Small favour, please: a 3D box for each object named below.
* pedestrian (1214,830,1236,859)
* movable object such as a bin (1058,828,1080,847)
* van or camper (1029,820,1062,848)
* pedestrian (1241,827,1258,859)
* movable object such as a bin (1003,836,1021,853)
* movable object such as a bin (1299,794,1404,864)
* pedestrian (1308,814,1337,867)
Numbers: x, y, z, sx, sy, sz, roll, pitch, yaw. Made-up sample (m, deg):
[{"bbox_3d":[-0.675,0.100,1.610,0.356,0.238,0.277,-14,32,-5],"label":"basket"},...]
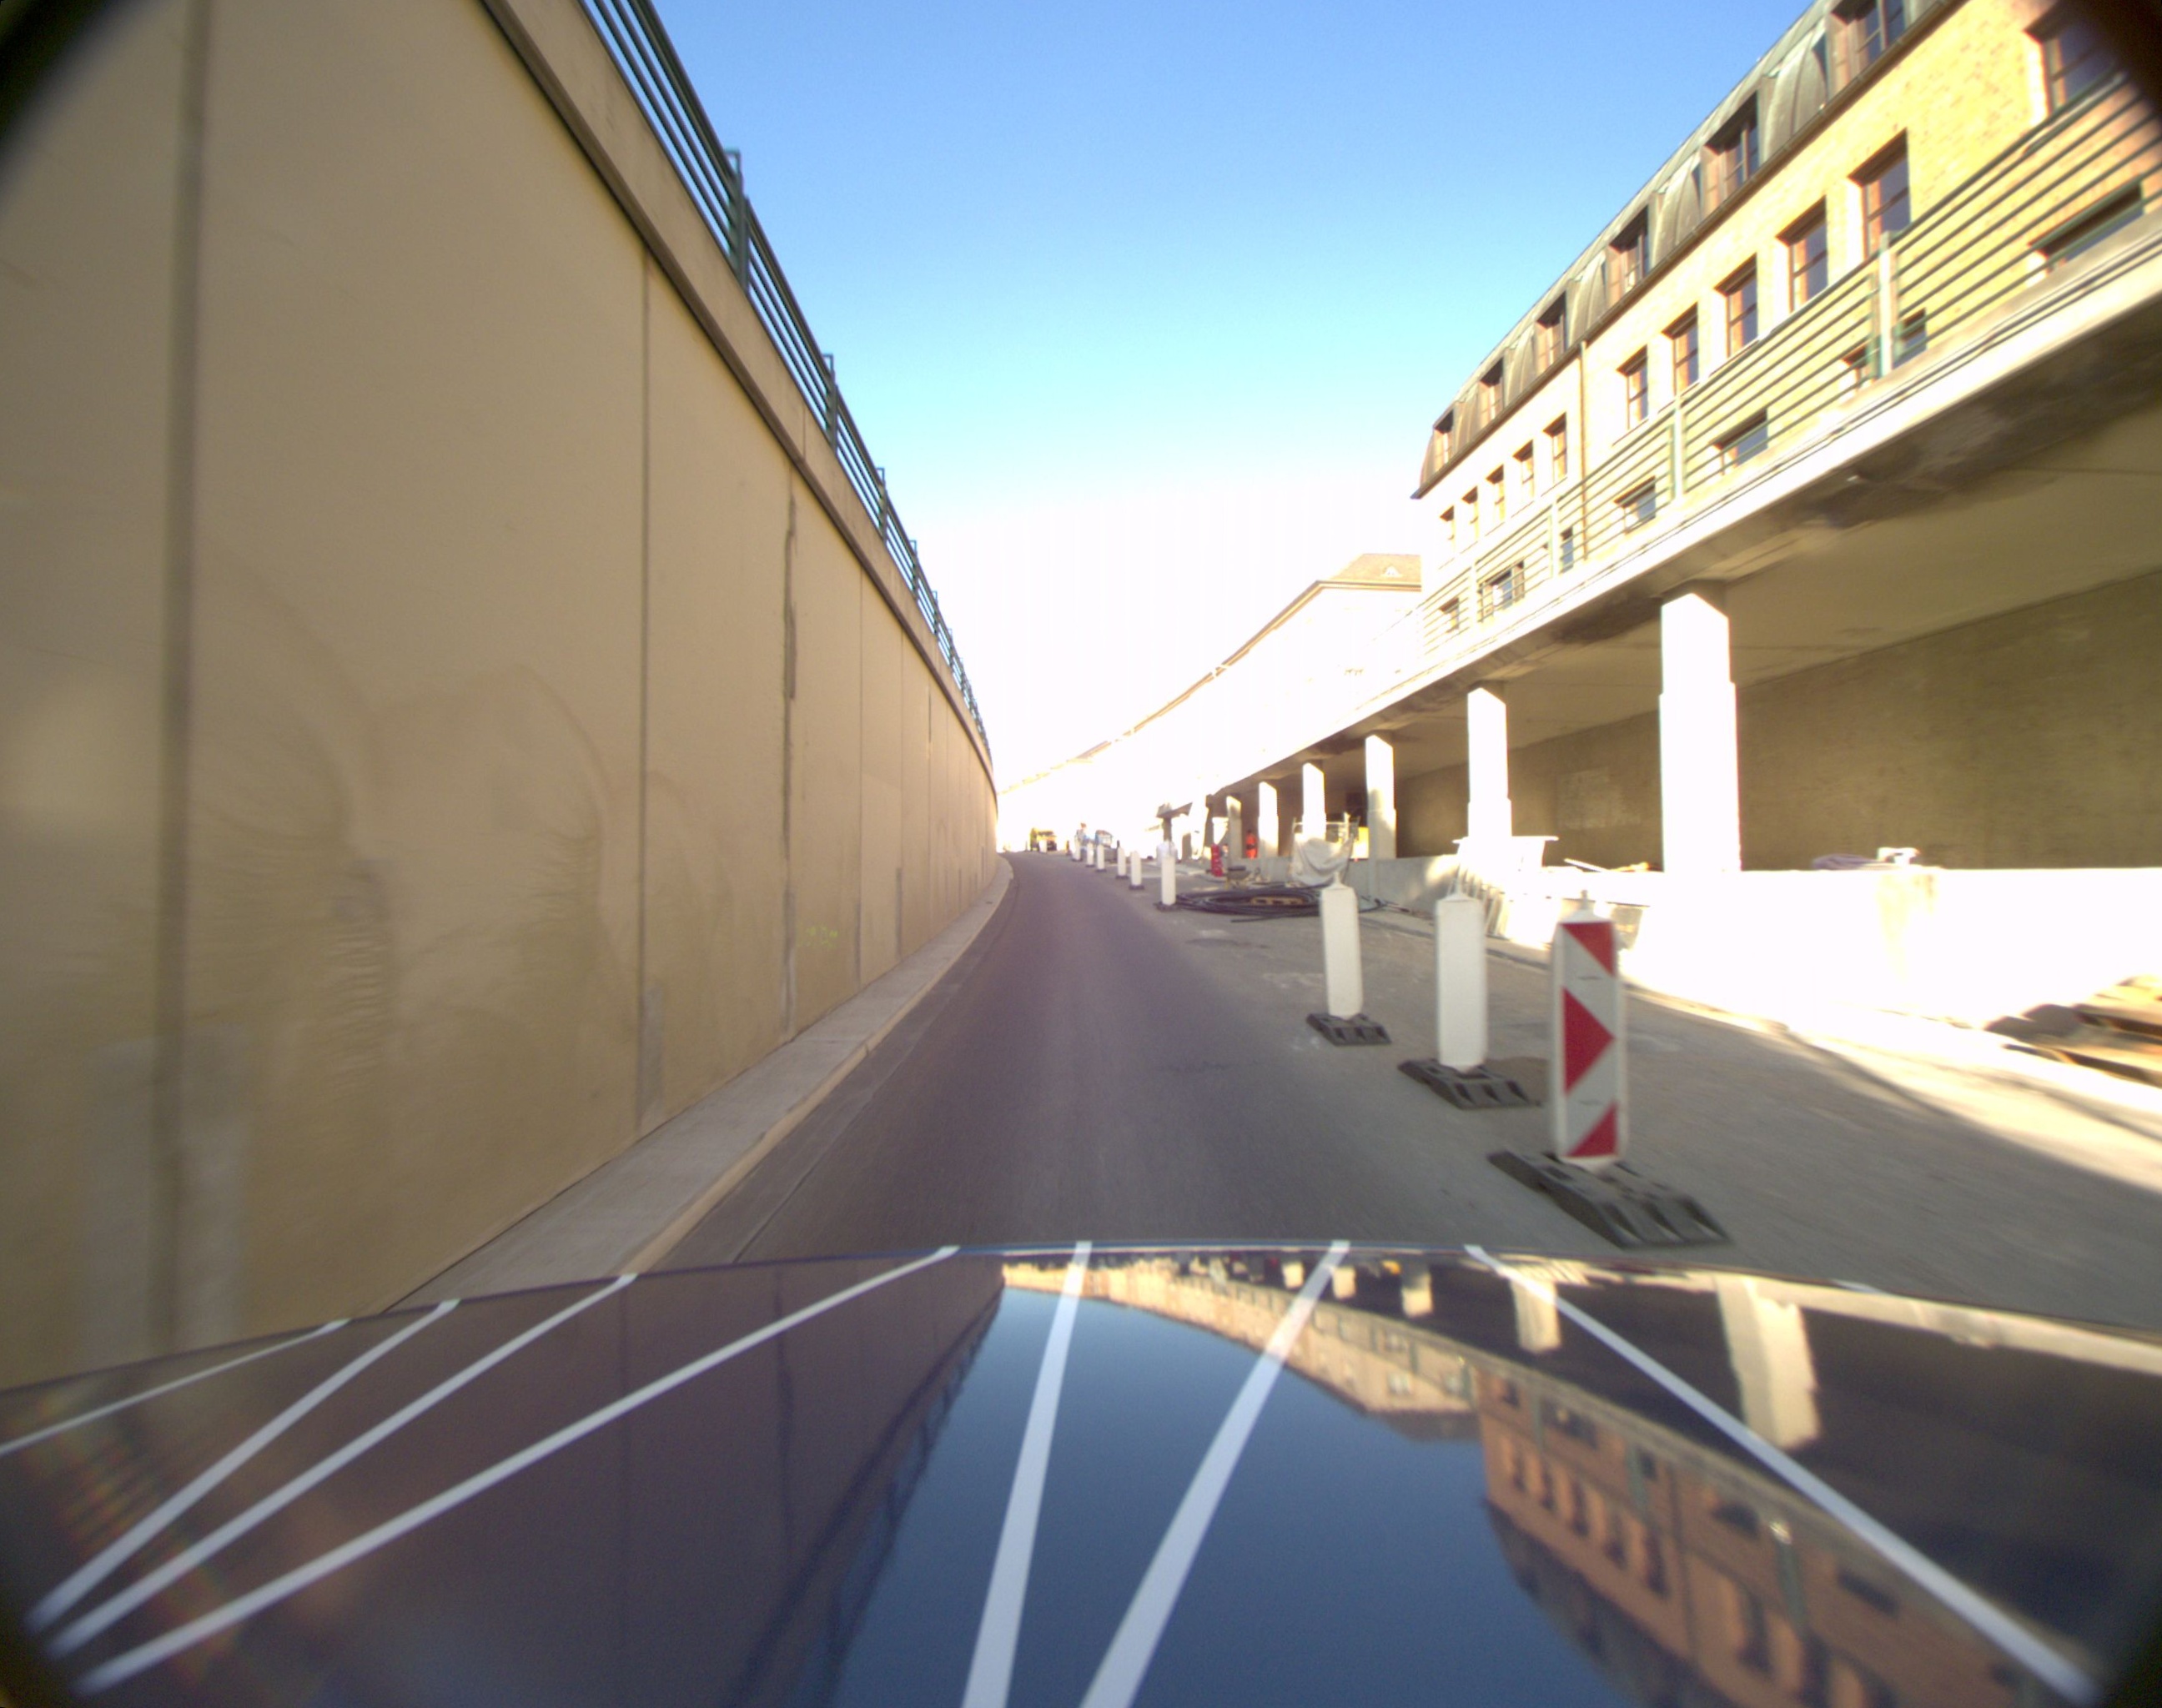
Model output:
[{"bbox_3d":[7.185,-0.479,37.971,0.874,1.390,0.782,-1,2,-13],"label":"pedestrian"},{"bbox_3d":[-1.643,-2.251,104.572,2.107,2.381,4.303,1,-1,-14],"label":"movable object such as a bin"},{"bbox_3d":[-3.629,-1.989,77.014,2.201,2.598,6.816,-3,2,-12],"label":"van or camper"},{"bbox_3d":[8.383,-0.560,37.803,0.651,1.571,0.630,-1,2,-14],"label":"pedestrian"},{"bbox_3d":[-10.968,-1.450,120.640,1.798,2.438,4.529,0,-1,-21],"label":"movable object such as a bin"},{"bbox_3d":[8.328,-0.765,23.700,1.891,1.976,3.156,-2,2,-6],"label":"movable object such as a bin"},{"bbox_3d":[8.429,-0.468,26.521,0.706,1.804,0.709,-2,2,-6],"label":"pedestrian"}]
